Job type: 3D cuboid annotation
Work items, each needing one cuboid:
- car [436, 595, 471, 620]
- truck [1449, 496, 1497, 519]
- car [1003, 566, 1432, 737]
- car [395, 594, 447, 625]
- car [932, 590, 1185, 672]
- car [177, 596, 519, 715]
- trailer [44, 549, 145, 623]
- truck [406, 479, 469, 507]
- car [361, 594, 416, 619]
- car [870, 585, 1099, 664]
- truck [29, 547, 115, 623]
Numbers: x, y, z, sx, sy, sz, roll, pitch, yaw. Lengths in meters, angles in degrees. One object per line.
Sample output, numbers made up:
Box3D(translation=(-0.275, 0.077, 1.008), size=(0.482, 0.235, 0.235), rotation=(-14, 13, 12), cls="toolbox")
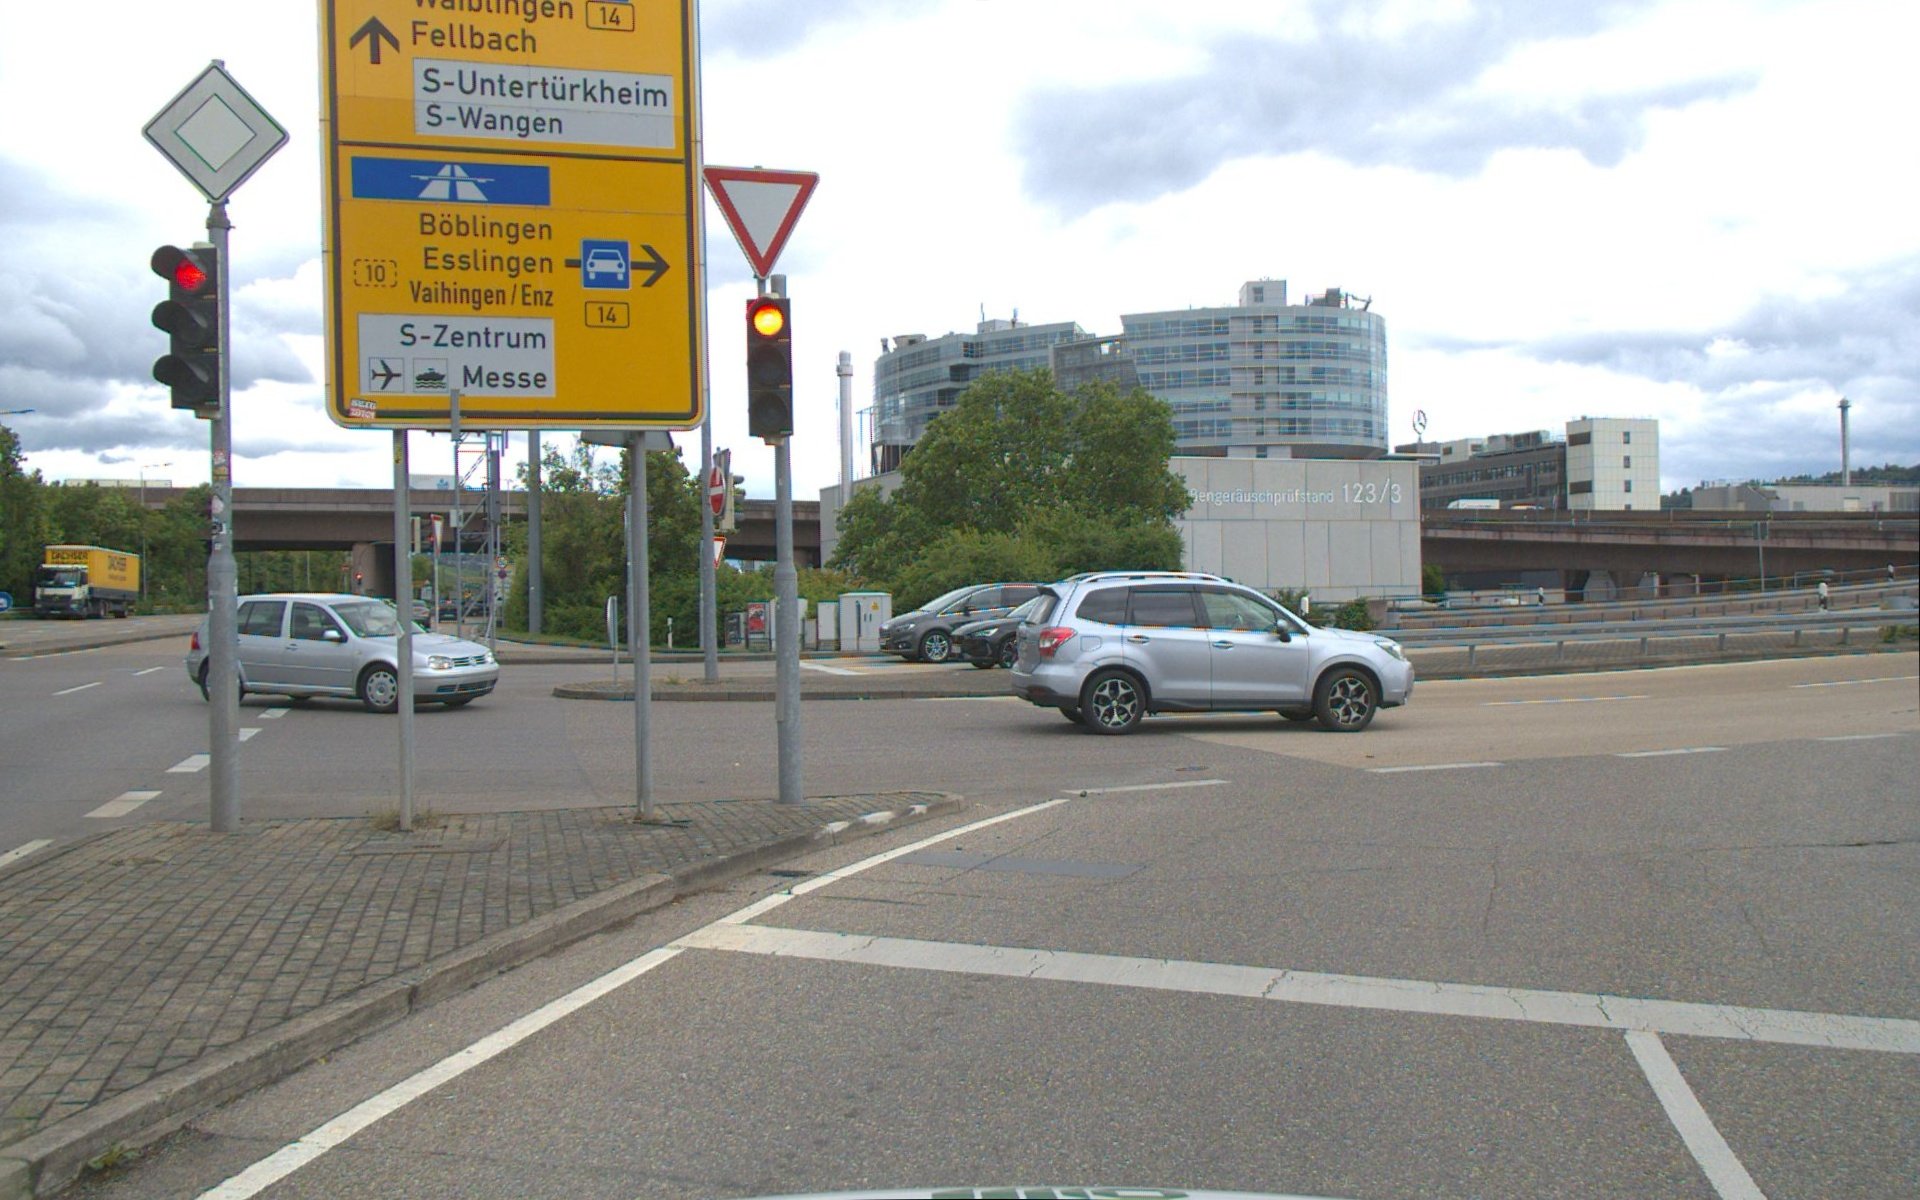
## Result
Box3D(translation=(-32.221, 0.479, 105.339), size=(1.961, 1.490, 4.093), rotation=(1, -2, -15), cls="car")
Box3D(translation=(55.028, -9.920, 177.544), size=(4.493, 2.209, 2.000), rotation=(3, 0, 1), cls="truck")
Box3D(translation=(2.801, 0.529, 18.505), size=(4.453, 1.767, 1.728), rotation=(-1, 1, -6), cls="car")
Box3D(translation=(-27.555, 0.517, 84.594), size=(1.957, 1.467, 4.099), rotation=(1, -2, -10), cls="car")
Box3D(translation=(1.909, 0.554, 32.137), size=(4.542, 1.482, 1.942), rotation=(0, 1, -23), cls="car")
Box3D(translation=(-7.950, 0.677, 21.536), size=(3.968, 1.425, 1.731), rotation=(0, 1, 19), cls="car")
Box3D(translation=(-52.589, -0.891, 100.837), size=(2.824, 4.155, 11.381), rotation=(2, 0, -15), cls="trailer")
Box3D(translation=(-47.006, -9.615, 148.918), size=(4.953, 2.362, 2.001), rotation=(1, 0, 4), cls="truck")
Box3D(translation=(-49.264, 0.539, 142.674), size=(3.902, 1.892, 2.002), rotation=(3, 0, 9), cls="car")
Box3D(translation=(0.517, 0.493, 35.882), size=(4.608, 1.599, 1.945), rotation=(0, 1, -20), cls="car")
Box3D(translation=(-51.226, -0.847, 95.553), size=(2.824, 4.155, 6.461), rotation=(2, 0, -15), cls="truck")
